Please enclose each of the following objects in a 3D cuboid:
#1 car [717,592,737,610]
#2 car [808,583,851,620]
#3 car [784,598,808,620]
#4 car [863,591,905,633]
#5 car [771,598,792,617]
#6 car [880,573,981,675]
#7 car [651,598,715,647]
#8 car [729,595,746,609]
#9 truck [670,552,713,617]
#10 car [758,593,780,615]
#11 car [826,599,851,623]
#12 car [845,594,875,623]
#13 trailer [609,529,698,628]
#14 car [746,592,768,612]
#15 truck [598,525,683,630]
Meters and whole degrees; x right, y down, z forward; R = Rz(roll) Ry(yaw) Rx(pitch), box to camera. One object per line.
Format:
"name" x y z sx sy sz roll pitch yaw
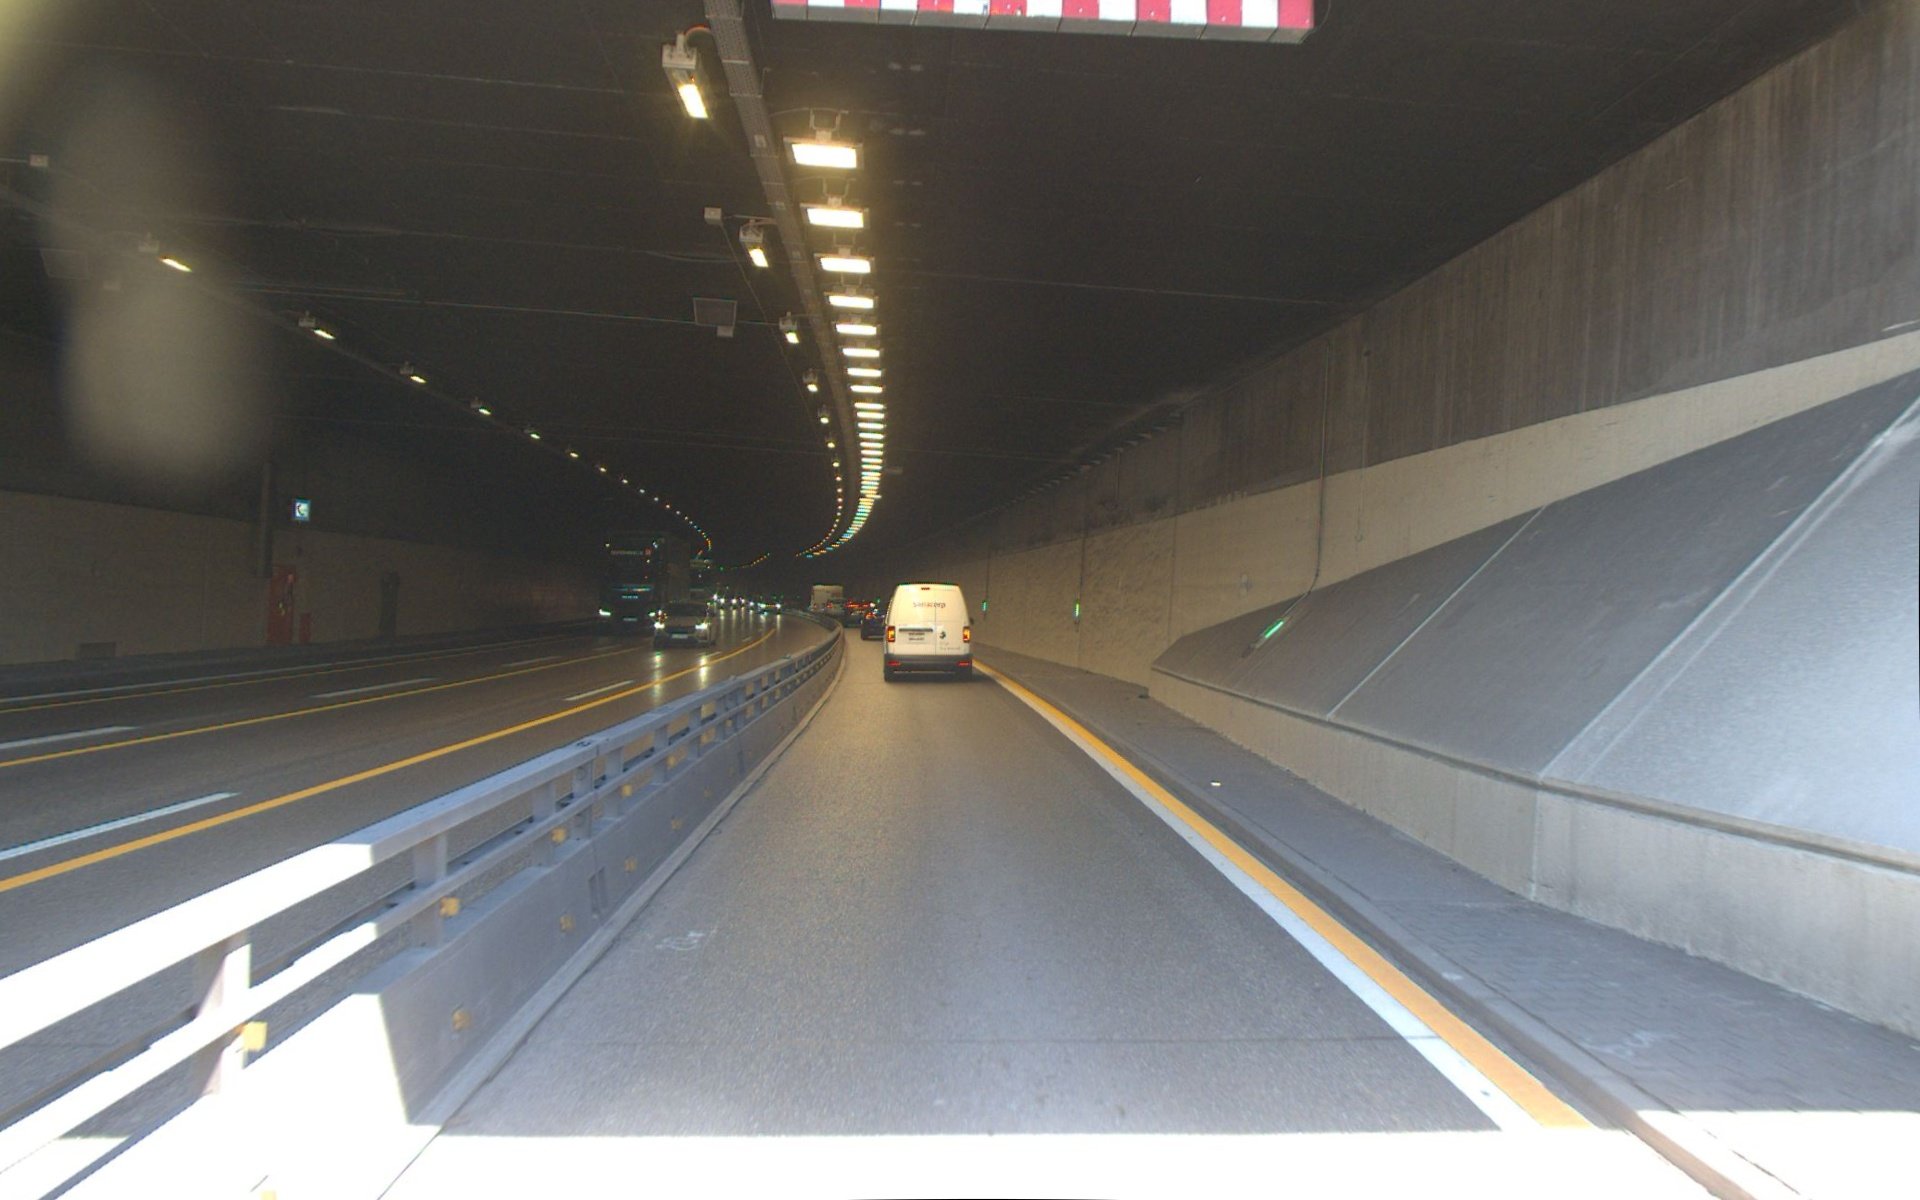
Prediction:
"car" -24.711 0.083 175.330 1.776 1.839 5.053 1 0 -11
"car" -10.424 0.165 131.926 2.762 2.822 7.085 -2 0 -9
"car" -16.640 0.916 167.503 1.998 2.056 4.621 5 -1 -9
"car" -3.027 0.461 65.469 1.567 1.573 3.674 1 0 -4
"car" -19.713 0.827 182.965 1.905 2.057 4.649 1 0 -11
"car" -0.635 0.473 32.770 1.773 1.825 3.728 3 -1 -3
"car" -8.766 0.685 52.620 1.786 1.482 4.087 1 0 -7
"car" -27.435 0.243 203.718 1.776 1.748 5.053 1 0 -11
"truck" -18.010 -0.986 111.160 2.609 4.215 5.347 1 0 -7
"car" -16.894 0.343 146.243 1.775 1.887 5.058 1 0 -8
"car" -8.386 0.756 114.110 1.568 1.573 3.672 1 0 -7
"car" -5.556 0.462 91.973 1.567 1.573 3.674 1 0 -5
"trailer" -13.672 -0.844 74.887 2.759 3.970 15.439 1 0 -6
"car" -21.260 0.210 172.797 1.892 1.880 4.348 0 3 -12
"truck" -12.821 -0.869 66.834 2.756 3.984 6.447 1 0 -6
